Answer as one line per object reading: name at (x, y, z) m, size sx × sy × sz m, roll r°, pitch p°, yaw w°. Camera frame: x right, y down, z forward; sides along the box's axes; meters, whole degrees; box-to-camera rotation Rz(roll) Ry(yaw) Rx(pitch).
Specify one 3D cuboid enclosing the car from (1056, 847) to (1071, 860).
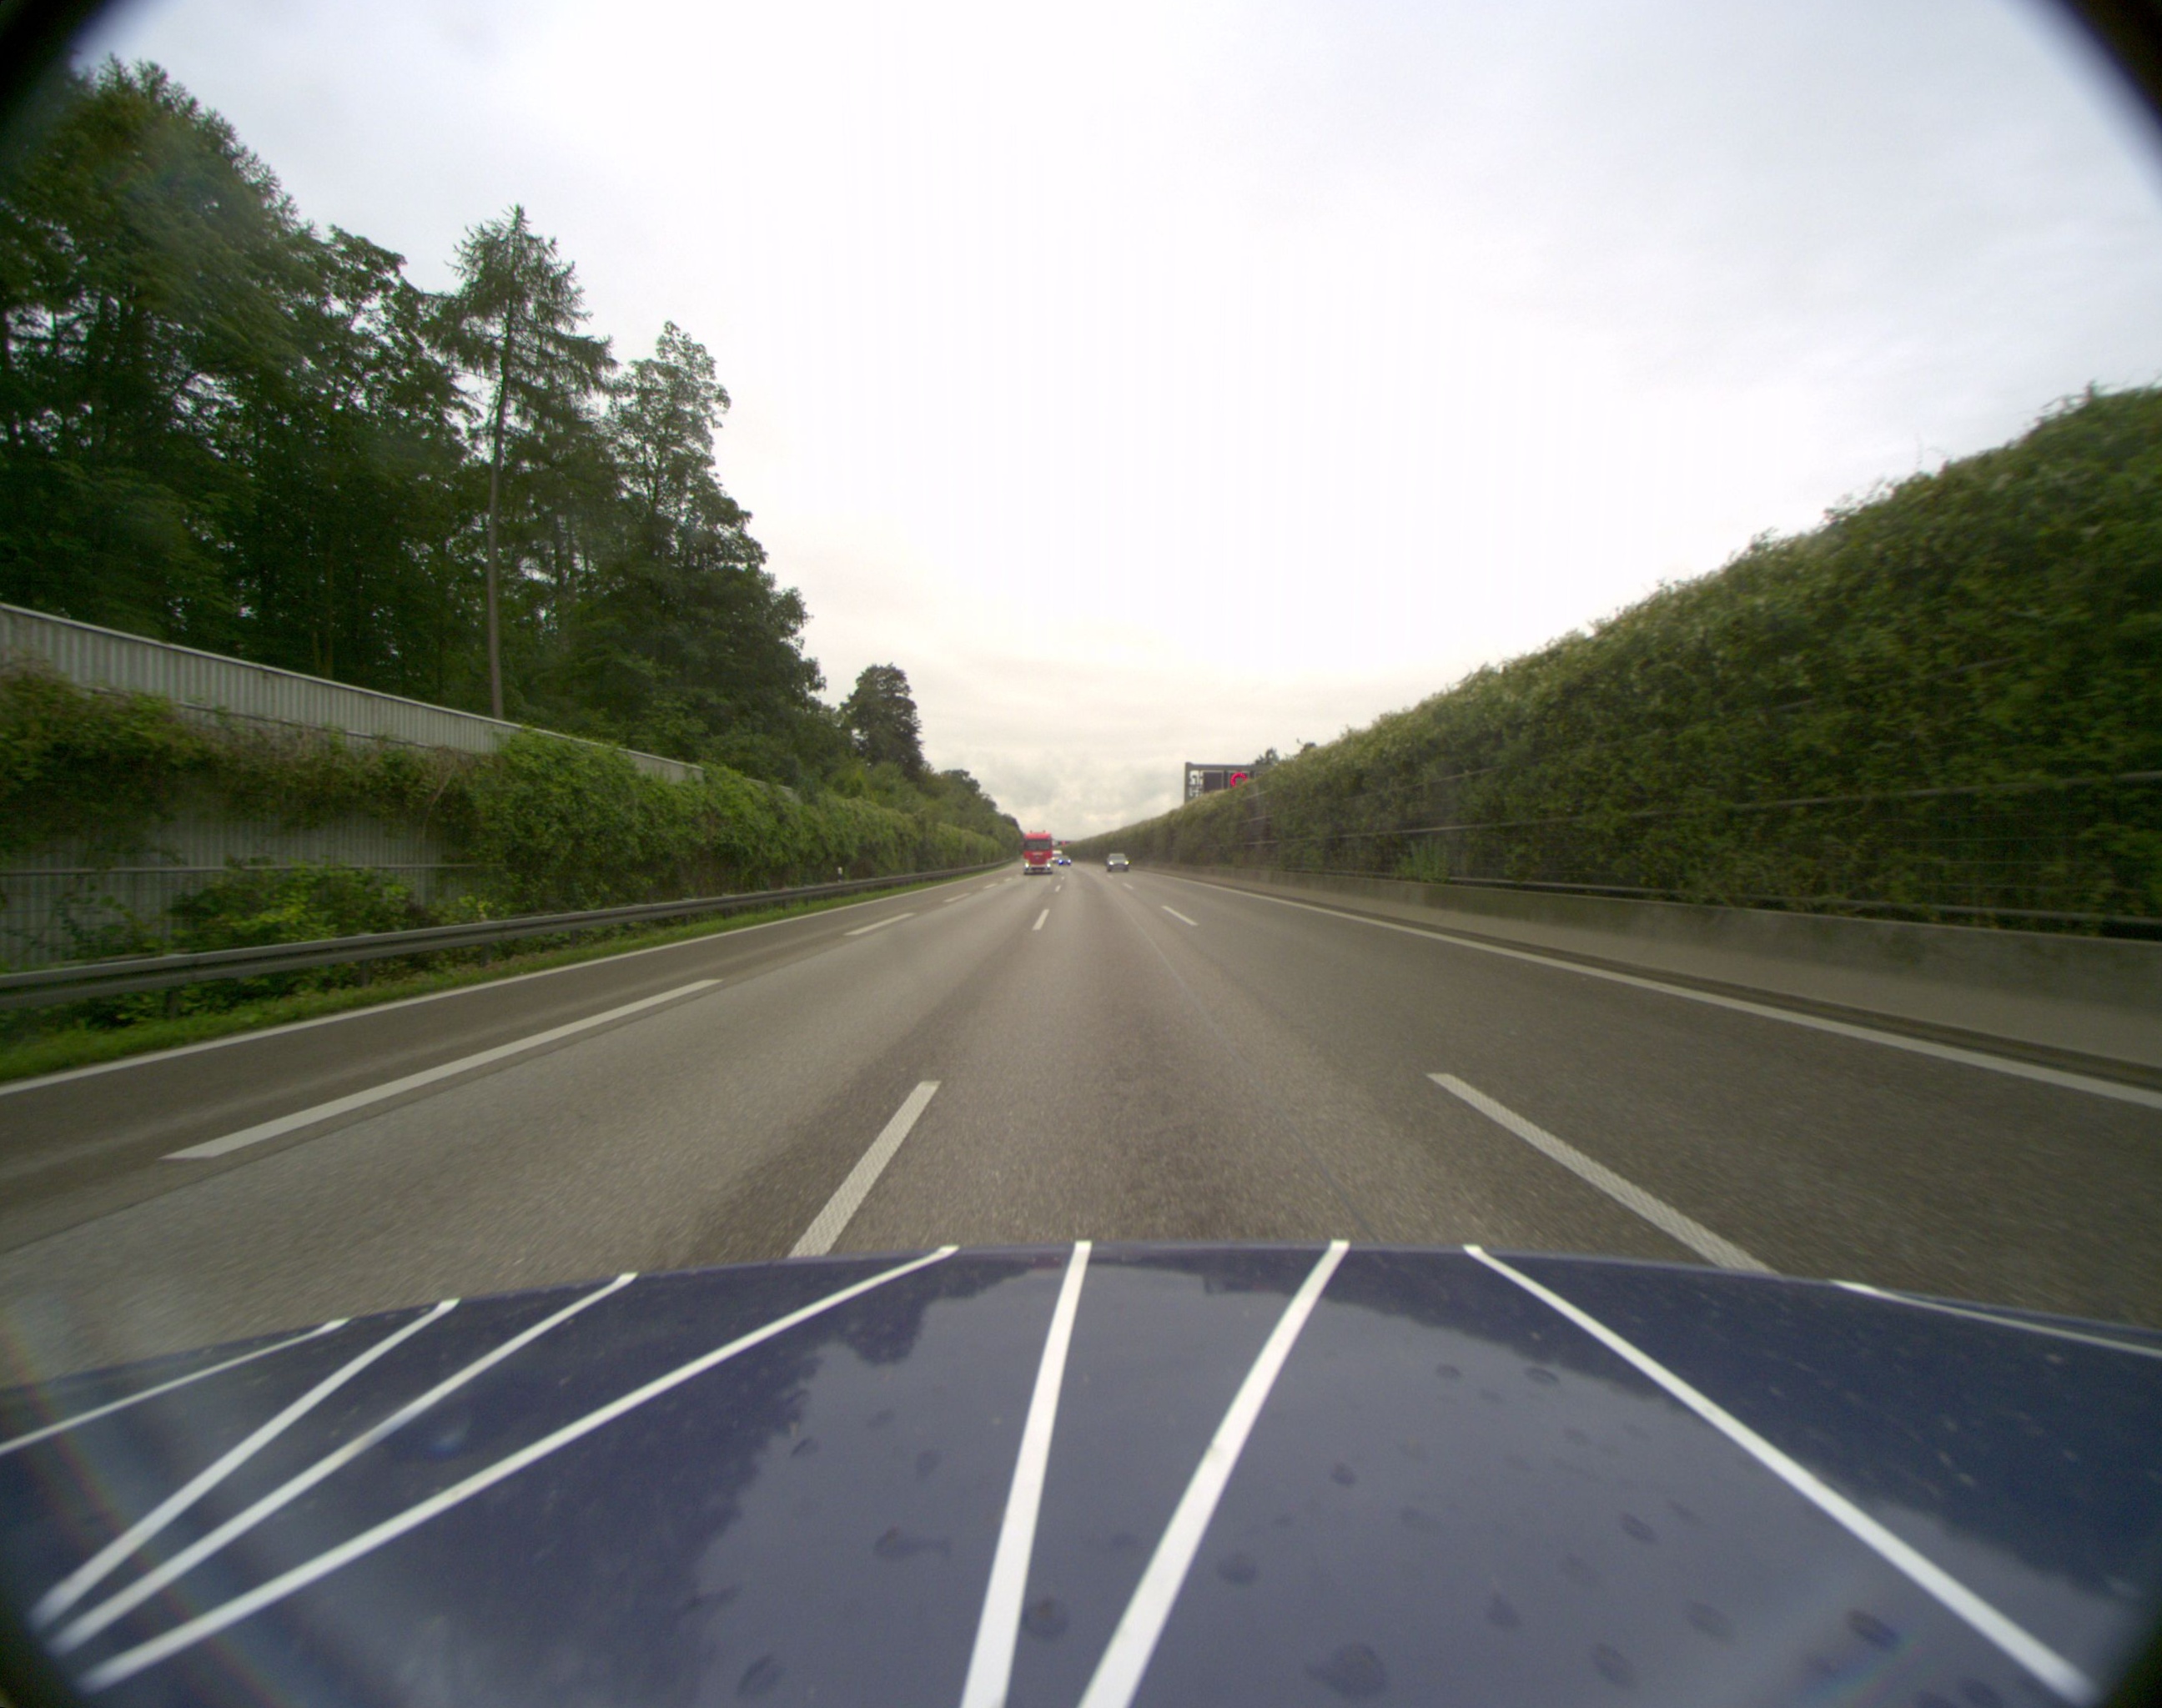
car at (-3.367, -0.117, 144.132) m, size 2.769 × 2.227 × 6.544 m, roll -1°, pitch 1°, yaw -2°

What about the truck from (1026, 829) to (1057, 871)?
truck at (-3.645, -0.501, 72.038) m, size 2.709 × 3.691 × 9.837 m, roll -1°, pitch 2°, yaw -2°

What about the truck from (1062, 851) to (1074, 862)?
truck at (-2.077, 0.413, 120.034) m, size 1.826 × 1.535 × 3.997 m, roll -1°, pitch 2°, yaw -3°

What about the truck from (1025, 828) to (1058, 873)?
truck at (-3.467, -0.383, 67.363) m, size 2.709 × 3.809 × 4.196 m, roll -1°, pitch 2°, yaw -1°

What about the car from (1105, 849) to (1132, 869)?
car at (3.478, 0.440, 70.995) m, size 2.023 × 1.595 × 5.437 m, roll -3°, pitch 1°, yaw -1°
